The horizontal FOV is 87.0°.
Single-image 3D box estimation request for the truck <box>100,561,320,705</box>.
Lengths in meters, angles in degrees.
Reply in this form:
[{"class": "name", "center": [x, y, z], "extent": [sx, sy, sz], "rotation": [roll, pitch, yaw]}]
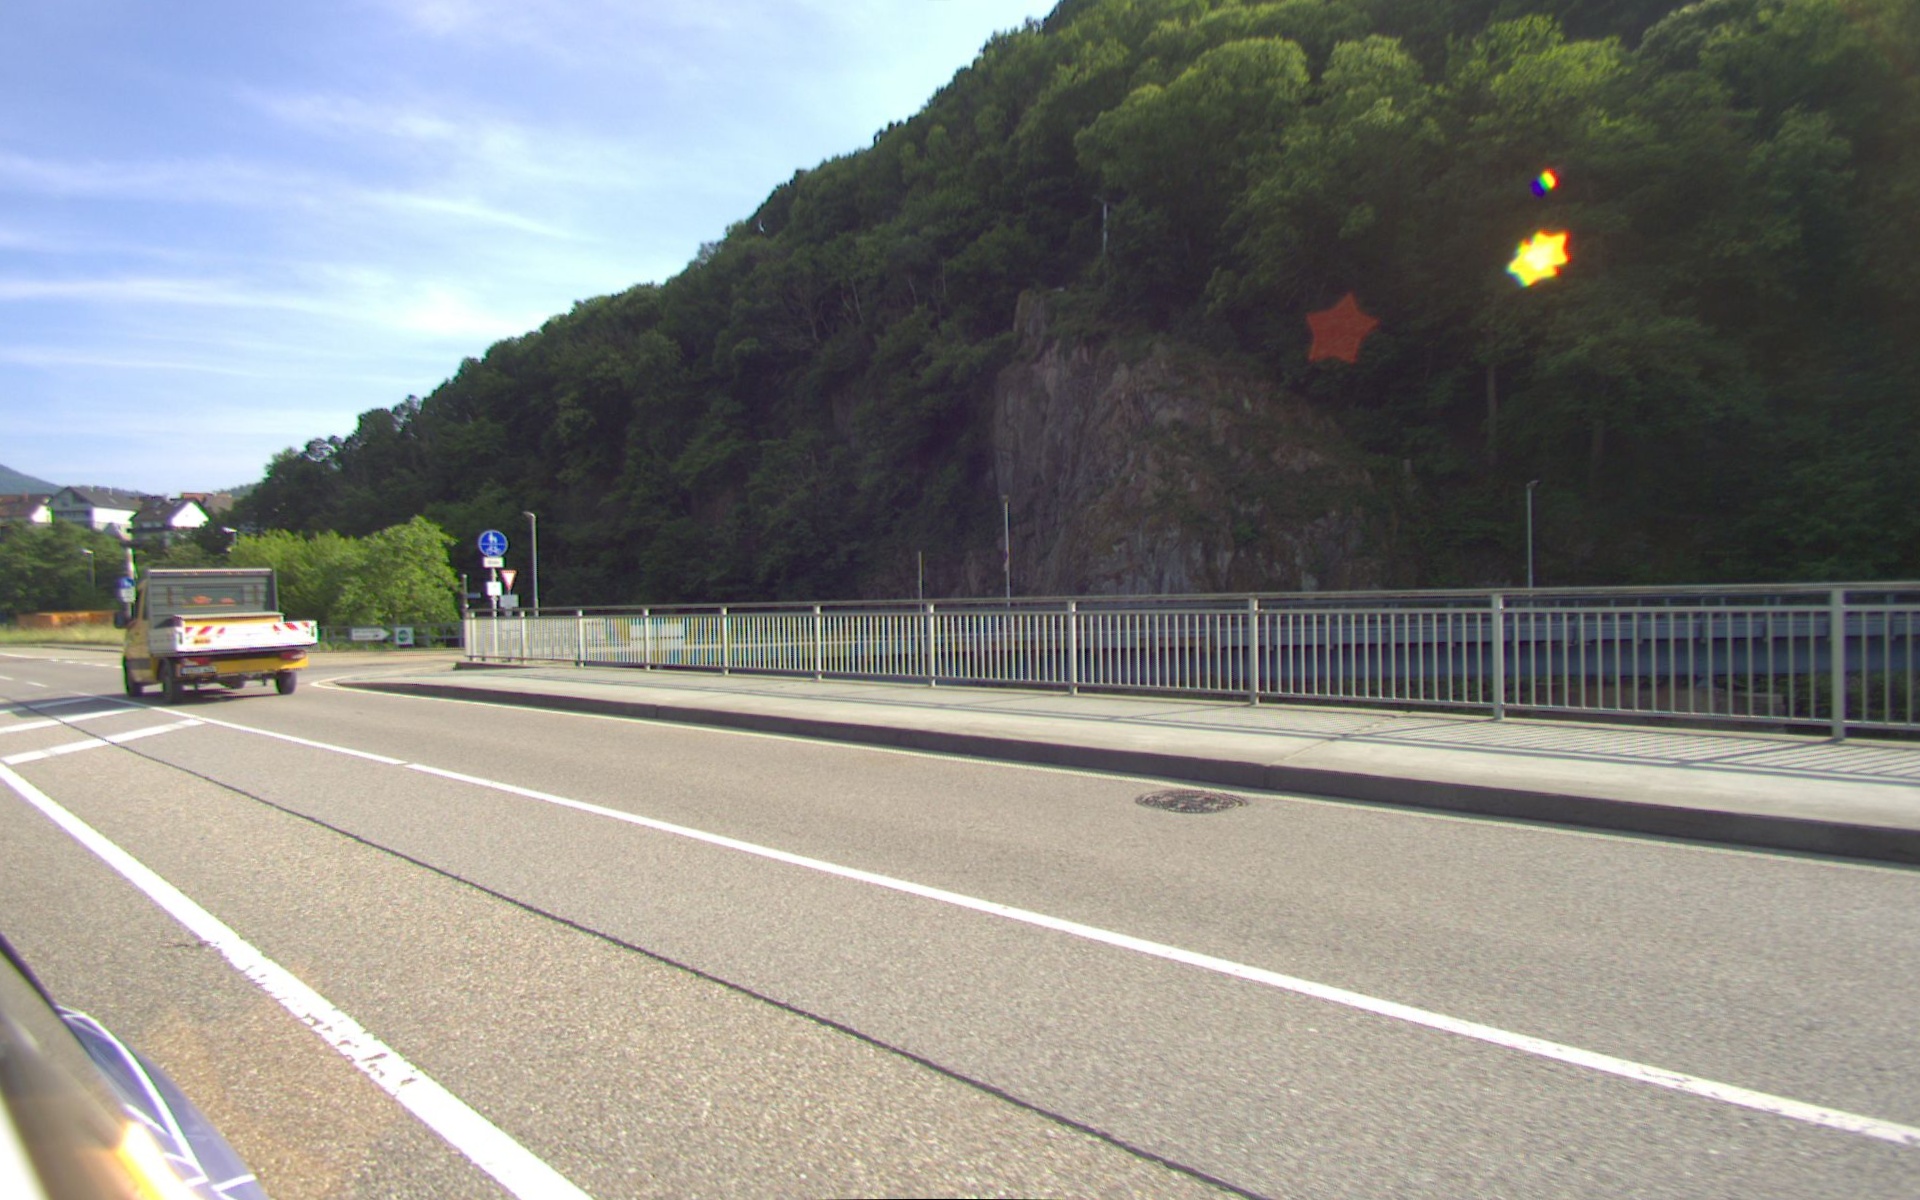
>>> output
[{"class": "truck", "center": [-14.607, 0.570, 19.543], "extent": [5.851, 2.405, 2.142], "rotation": [-1, 1, 41]}]
